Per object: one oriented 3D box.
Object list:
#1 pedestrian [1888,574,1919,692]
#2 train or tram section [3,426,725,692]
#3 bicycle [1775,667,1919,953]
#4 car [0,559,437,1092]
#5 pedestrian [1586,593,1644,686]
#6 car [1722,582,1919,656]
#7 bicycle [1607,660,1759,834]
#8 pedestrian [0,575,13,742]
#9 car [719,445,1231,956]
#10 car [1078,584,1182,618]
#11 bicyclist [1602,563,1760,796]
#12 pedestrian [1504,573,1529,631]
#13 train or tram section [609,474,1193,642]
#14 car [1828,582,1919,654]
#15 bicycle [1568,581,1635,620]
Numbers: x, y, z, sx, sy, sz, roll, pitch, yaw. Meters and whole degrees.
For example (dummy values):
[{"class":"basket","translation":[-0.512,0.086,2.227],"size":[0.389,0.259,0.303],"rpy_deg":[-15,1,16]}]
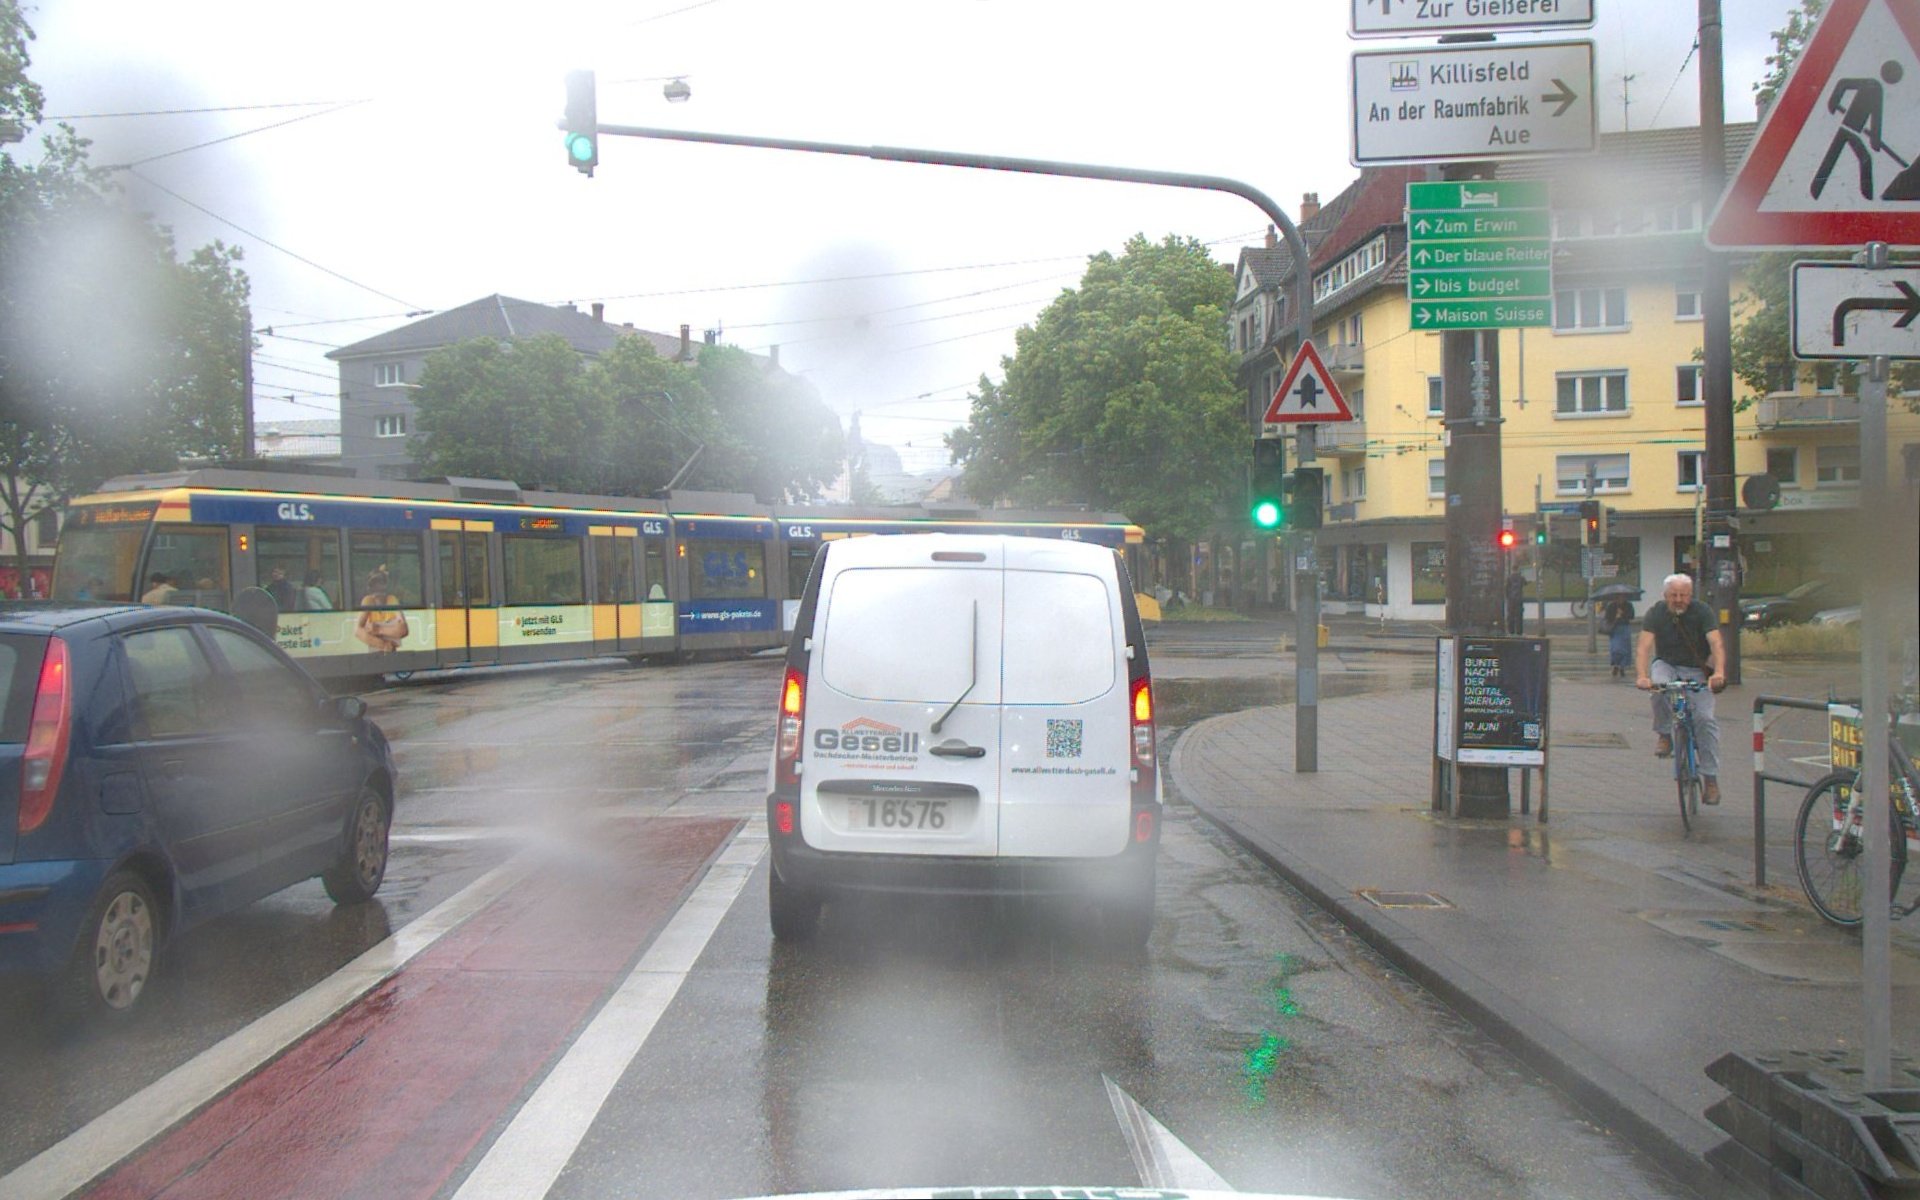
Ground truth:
[{"class":"pedestrian","translation":[14.121,0.482,24.201],"size":[0.886,1.698,1.019],"rpy_deg":[0,0,26]},{"class":"train or tram section","translation":[-9.305,-0.541,29.169],"size":[3.443,3.574,13.652],"rpy_deg":[1,0,24]},{"class":"bicycle","translation":[4.254,0.910,7.089],"size":[0.503,1.126,2.017],"rpy_deg":[3,0,1]},{"class":"car","translation":[-3.607,0.672,6.879],"size":[1.692,1.606,3.820],"rpy_deg":[0,0,-1]},{"class":"pedestrian","translation":[11.199,0.661,28.281],"size":[0.809,1.561,0.614],"rpy_deg":[1,0,-39]},{"class":"car","translation":[20.858,0.458,39.083],"size":[4.832,1.672,2.001],"rpy_deg":[0,-2,11]},{"class":"bicycle","translation":[5.181,1.012,11.951],"size":[0.449,1.045,1.903],"rpy_deg":[0,1,6]},{"class":"pedestrian","translation":[-9.711,0.573,16.027],"size":[0.612,1.635,0.742],"rpy_deg":[0,0,1]},{"class":"car","translation":[0.027,0.409,9.153],"size":[2.058,2.047,4.962],"rpy_deg":[0,0,-1]},{"class":"car","translation":[7.090,0.015,69.187],"size":[4.088,1.362,1.518],"rpy_deg":[0,1,-8]},{"class":"bicyclist","translation":[5.189,0.552,11.961],"size":[0.859,1.611,0.861],"rpy_deg":[0,0,9]},{"class":"pedestrian","translation":[14.696,0.051,43.648],"size":[0.608,1.526,0.553],"rpy_deg":[0,0,20]},{"class":"train or tram section","translation":[-0.823,-0.778,40.496],"size":[15.353,3.472,3.502],"rpy_deg":[1,0,-40]},{"class":"car","translation":[21.144,0.376,35.801],"size":[3.854,1.516,1.808],"rpy_deg":[0,1,15]},{"class":"bicycle","translation":[21.548,0.000,55.601],"size":[2.056,1.283,0.532],"rpy_deg":[0,1,14]}]
